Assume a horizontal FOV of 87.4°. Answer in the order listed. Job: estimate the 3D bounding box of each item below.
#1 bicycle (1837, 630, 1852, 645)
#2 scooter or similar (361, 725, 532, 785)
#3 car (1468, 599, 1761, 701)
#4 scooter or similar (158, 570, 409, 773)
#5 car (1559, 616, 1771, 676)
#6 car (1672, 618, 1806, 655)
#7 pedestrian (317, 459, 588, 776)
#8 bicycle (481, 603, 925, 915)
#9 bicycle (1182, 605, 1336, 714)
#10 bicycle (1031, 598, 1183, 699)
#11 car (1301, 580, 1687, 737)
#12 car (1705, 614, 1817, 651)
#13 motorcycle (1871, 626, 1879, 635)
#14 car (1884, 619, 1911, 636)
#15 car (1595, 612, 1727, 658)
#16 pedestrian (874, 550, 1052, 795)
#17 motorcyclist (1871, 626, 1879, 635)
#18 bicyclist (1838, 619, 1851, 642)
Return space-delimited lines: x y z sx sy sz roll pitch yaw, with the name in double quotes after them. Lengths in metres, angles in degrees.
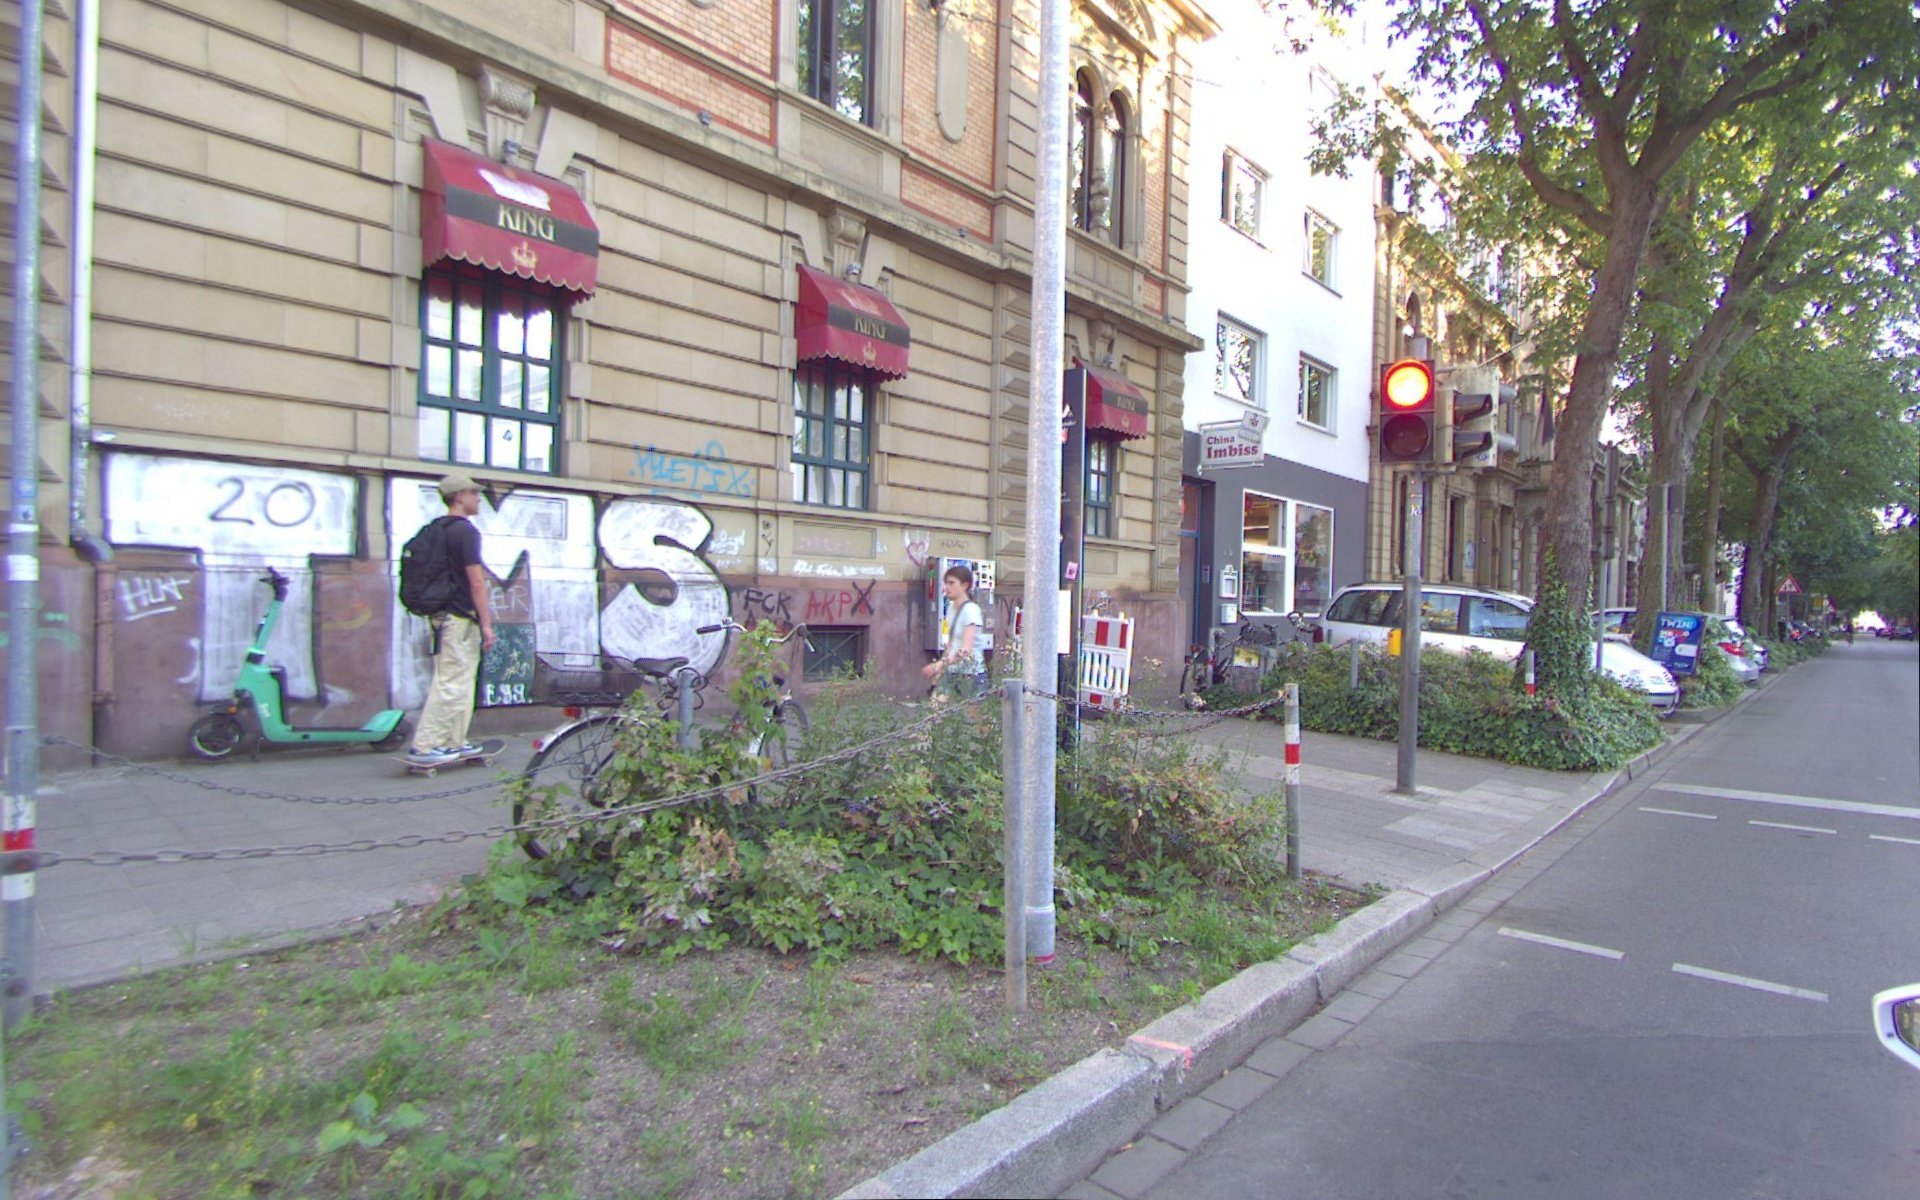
59.624 2.530 67.692 0.564 0.962 1.738 2 0 36 "bicycle"
-3.255 0.975 6.410 0.411 0.210 0.880 5 2 32 "scooter or similar"
12.545 0.873 19.453 4.499 1.711 1.822 1 0 44 "car"
-4.298 0.432 6.441 1.275 1.183 0.435 2 2 -36 "scooter or similar"
19.091 1.191 27.340 4.499 1.390 1.822 1 0 44 "car"
34.055 1.582 43.994 4.499 1.428 1.822 1 0 44 "car"
-3.168 0.082 6.347 0.836 1.762 1.263 3 2 32 "pedestrian"
-1.091 0.622 4.775 0.505 1.169 2.090 4 2 42 "bicycle"
3.812 0.698 12.628 0.726 1.202 2.619 4 1 43 "bicycle"
2.005 0.611 13.343 0.630 1.218 2.548 1 0 44 "bicycle"
7.343 0.684 14.096 4.494 1.859 1.824 1 0 40 "car"
42.212 1.692 52.998 4.499 1.714 1.822 2 0 44 "car"
134.617 4.544 147.811 0.809 1.253 2.014 3 1 42 "motorcycle"
95.534 2.817 102.398 1.804 1.582 4.007 3 1 41 "car"
27.273 1.337 39.141 3.996 1.611 1.822 1 0 44 "car"
0.004 0.477 6.944 0.966 1.578 0.697 3 2 -22 "pedestrian"
134.554 4.537 147.738 0.809 1.253 0.846 3 1 42 "motorcyclist"
59.595 2.045 67.677 0.564 1.489 0.640 2 0 37 "bicyclist"
